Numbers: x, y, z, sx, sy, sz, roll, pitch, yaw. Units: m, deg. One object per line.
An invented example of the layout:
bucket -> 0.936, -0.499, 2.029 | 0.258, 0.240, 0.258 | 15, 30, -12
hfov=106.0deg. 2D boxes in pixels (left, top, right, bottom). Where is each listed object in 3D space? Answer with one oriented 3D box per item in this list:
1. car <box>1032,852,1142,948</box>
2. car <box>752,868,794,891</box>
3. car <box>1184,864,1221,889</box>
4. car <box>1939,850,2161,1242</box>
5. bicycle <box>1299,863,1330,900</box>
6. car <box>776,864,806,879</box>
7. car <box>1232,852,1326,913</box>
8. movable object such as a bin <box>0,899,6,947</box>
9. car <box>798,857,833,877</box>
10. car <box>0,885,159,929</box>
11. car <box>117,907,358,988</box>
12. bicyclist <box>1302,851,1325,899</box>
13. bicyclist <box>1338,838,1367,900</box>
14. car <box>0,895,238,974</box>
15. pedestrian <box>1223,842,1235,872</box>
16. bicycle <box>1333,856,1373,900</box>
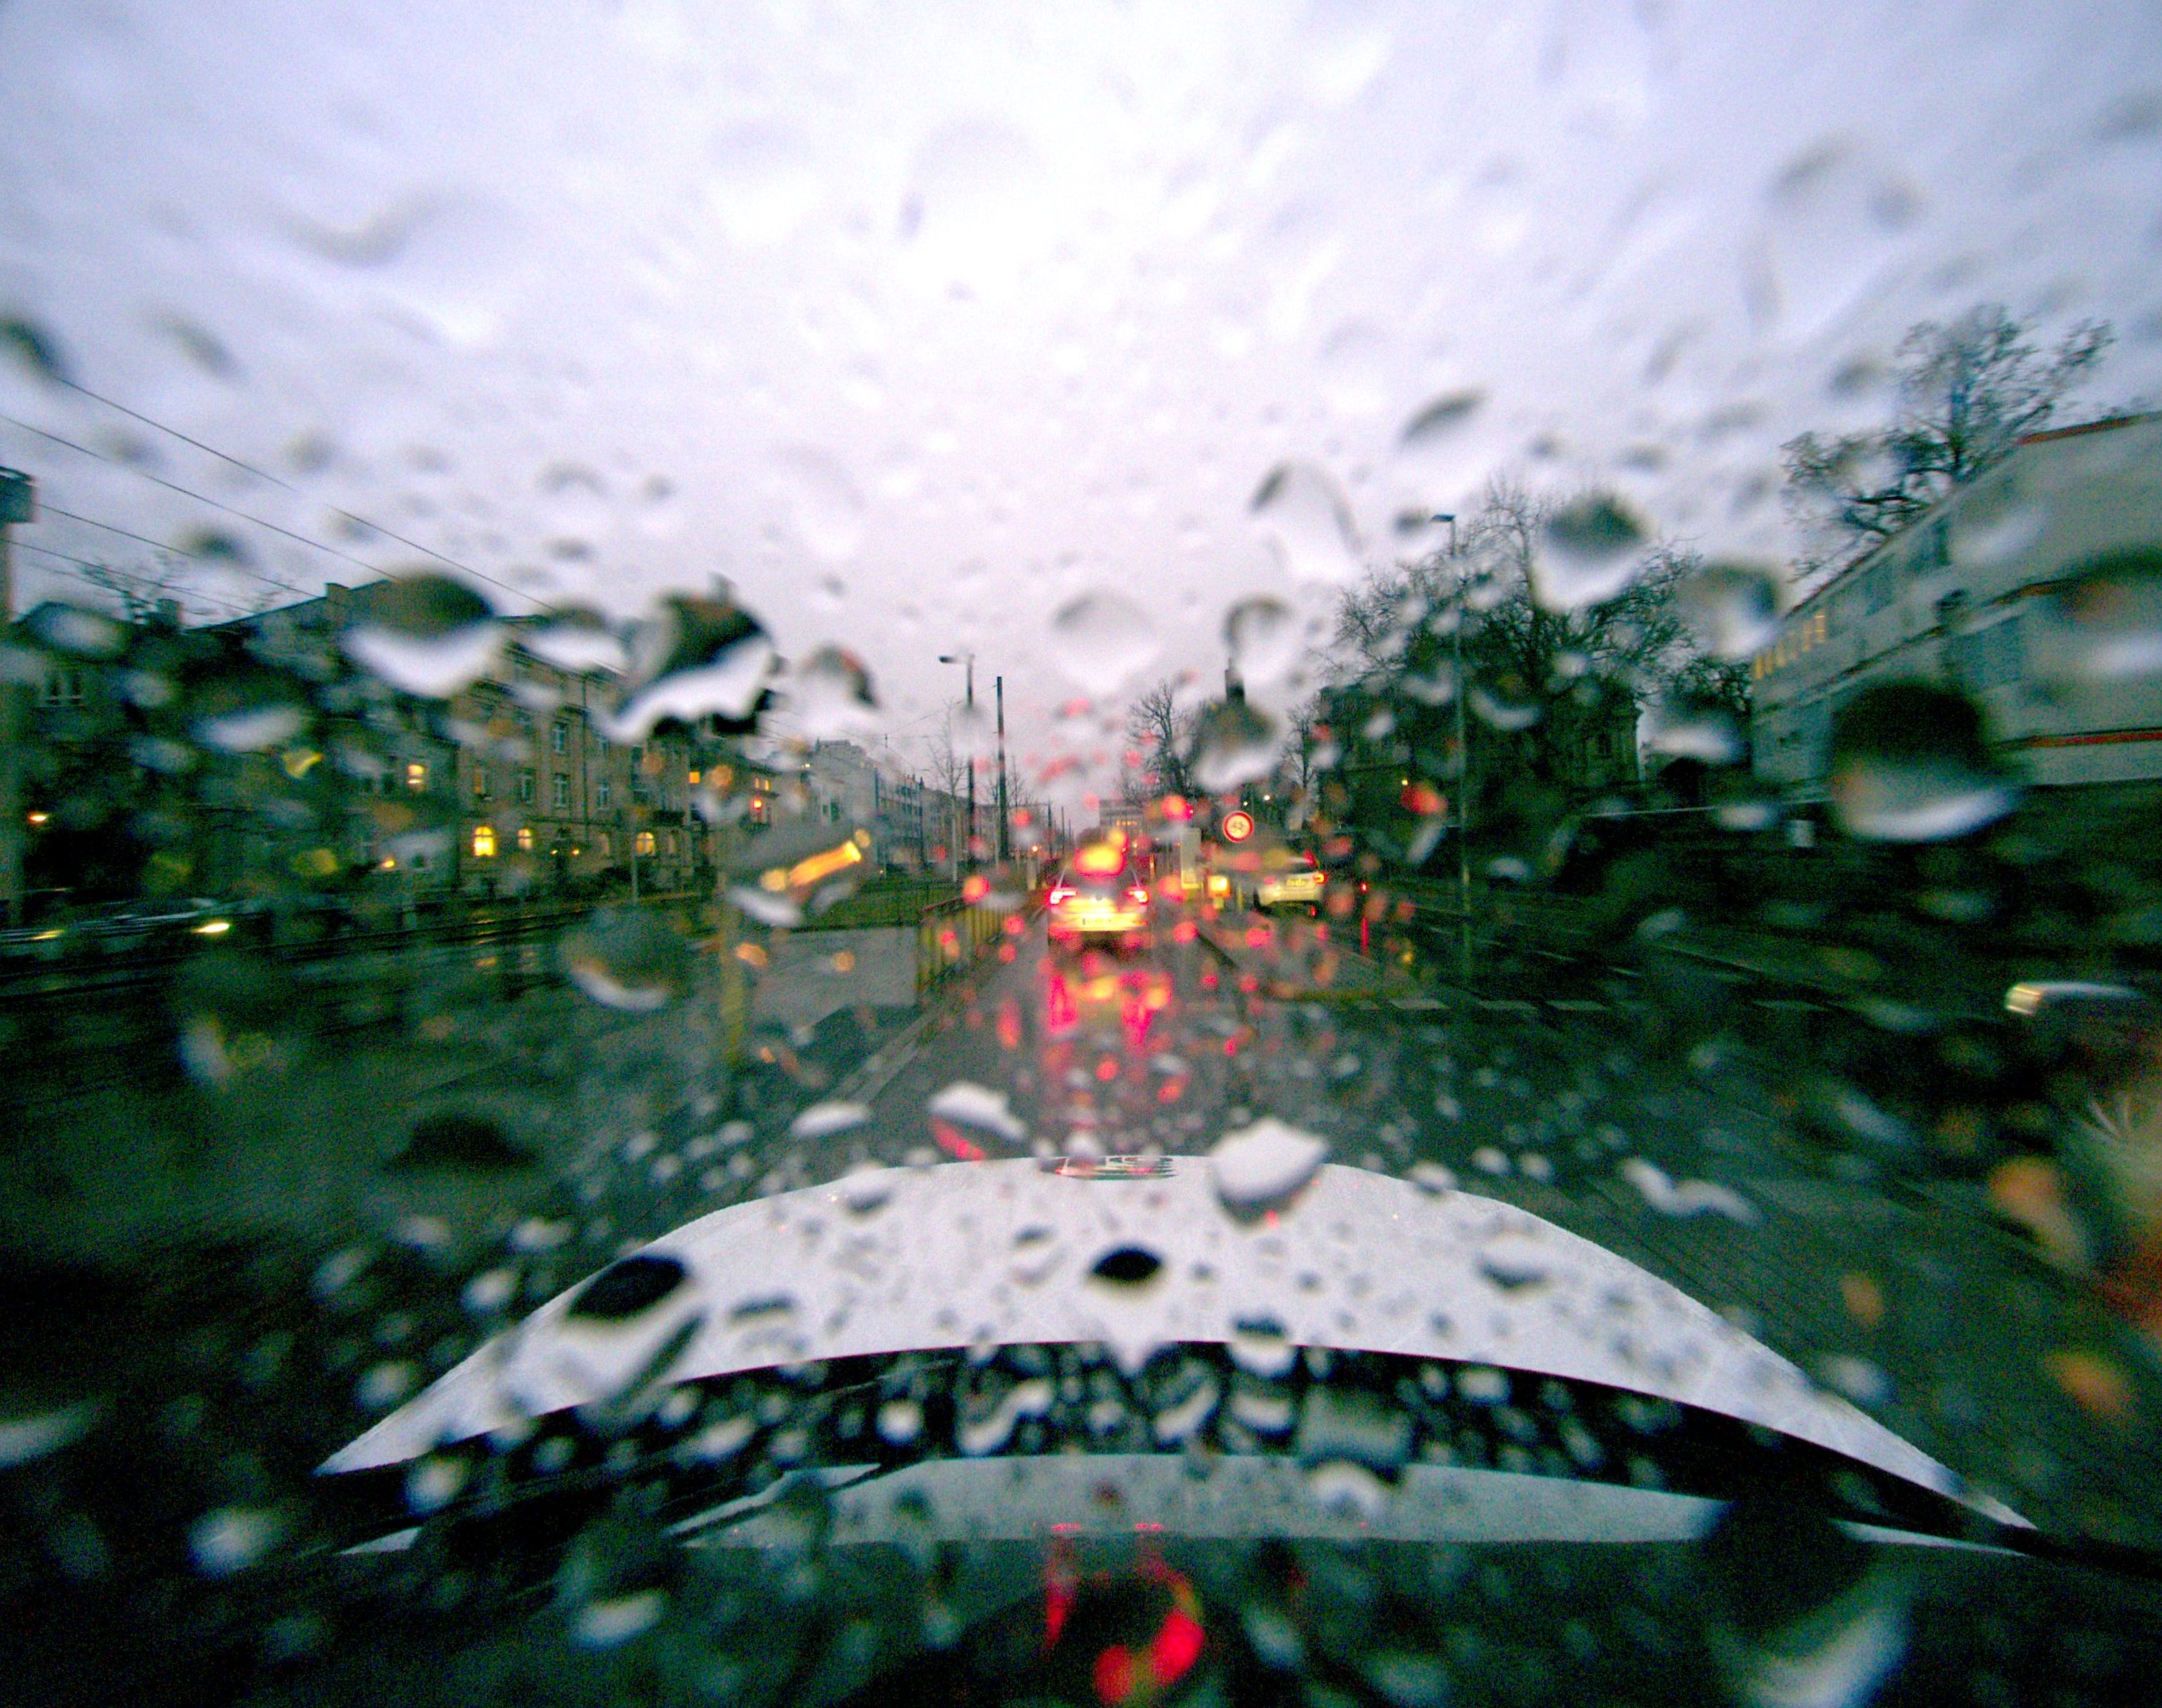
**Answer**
car -> 0.164, 0.748, 14.660 | 1.716, 1.479, 4.001 | 0, -1, 2
car -> -25.836, 2.135, 68.491 | 1.988, 1.692, 4.109 | -3, 0, -2
car -> 6.698, 1.231, 45.245 | 1.617, 1.299, 4.002 | 0, -1, 2
car -> 4.807, 0.710, 1.871 | 1.714, 1.479, 4.006 | 0, -1, 6
bicycle -> 7.875, 0.910, 27.559 | 0.410, 1.185, 1.947 | -2, 0, -1
car -> -31.042, 1.900, 87.238 | 1.801, 1.436, 3.925 | -3, 0, -2
car -> 5.256, 0.723, 22.075 | 1.716, 1.479, 4.002 | 0, -1, 2
movable object such as a bin -> -34.469, 2.194, 24.943 | 1.105, 1.480, 1.424 | -3, 0, -2
car -> -27.645, 1.317, 84.998 | 1.988, 1.933, 4.909 | -3, 0, -2
car -> -38.018, 1.996, 30.857 | 3.975, 1.406, 1.832 | -2, 0, -1
car -> -20.707, 2.236, 20.282 | 1.795, 1.585, 3.999 | 0, -1, 0
bicyclist -> 7.888, 0.699, 27.661 | 0.498, 1.591, 0.837 | -2, 0, -1
bicyclist -> 7.858, 0.425, 23.578 | 0.498, 1.767, 0.837 | -2, 0, -1
car -> -23.696, 1.869, 19.978 | 1.795, 1.585, 3.999 | 0, -1, 0
pedestrian -> 9.675, 0.186, 53.088 | 0.530, 1.879, 0.900 | -2, 0, -1
bicycle -> 7.841, 0.664, 23.537 | 0.410, 1.185, 2.028 | -2, 0, -1
